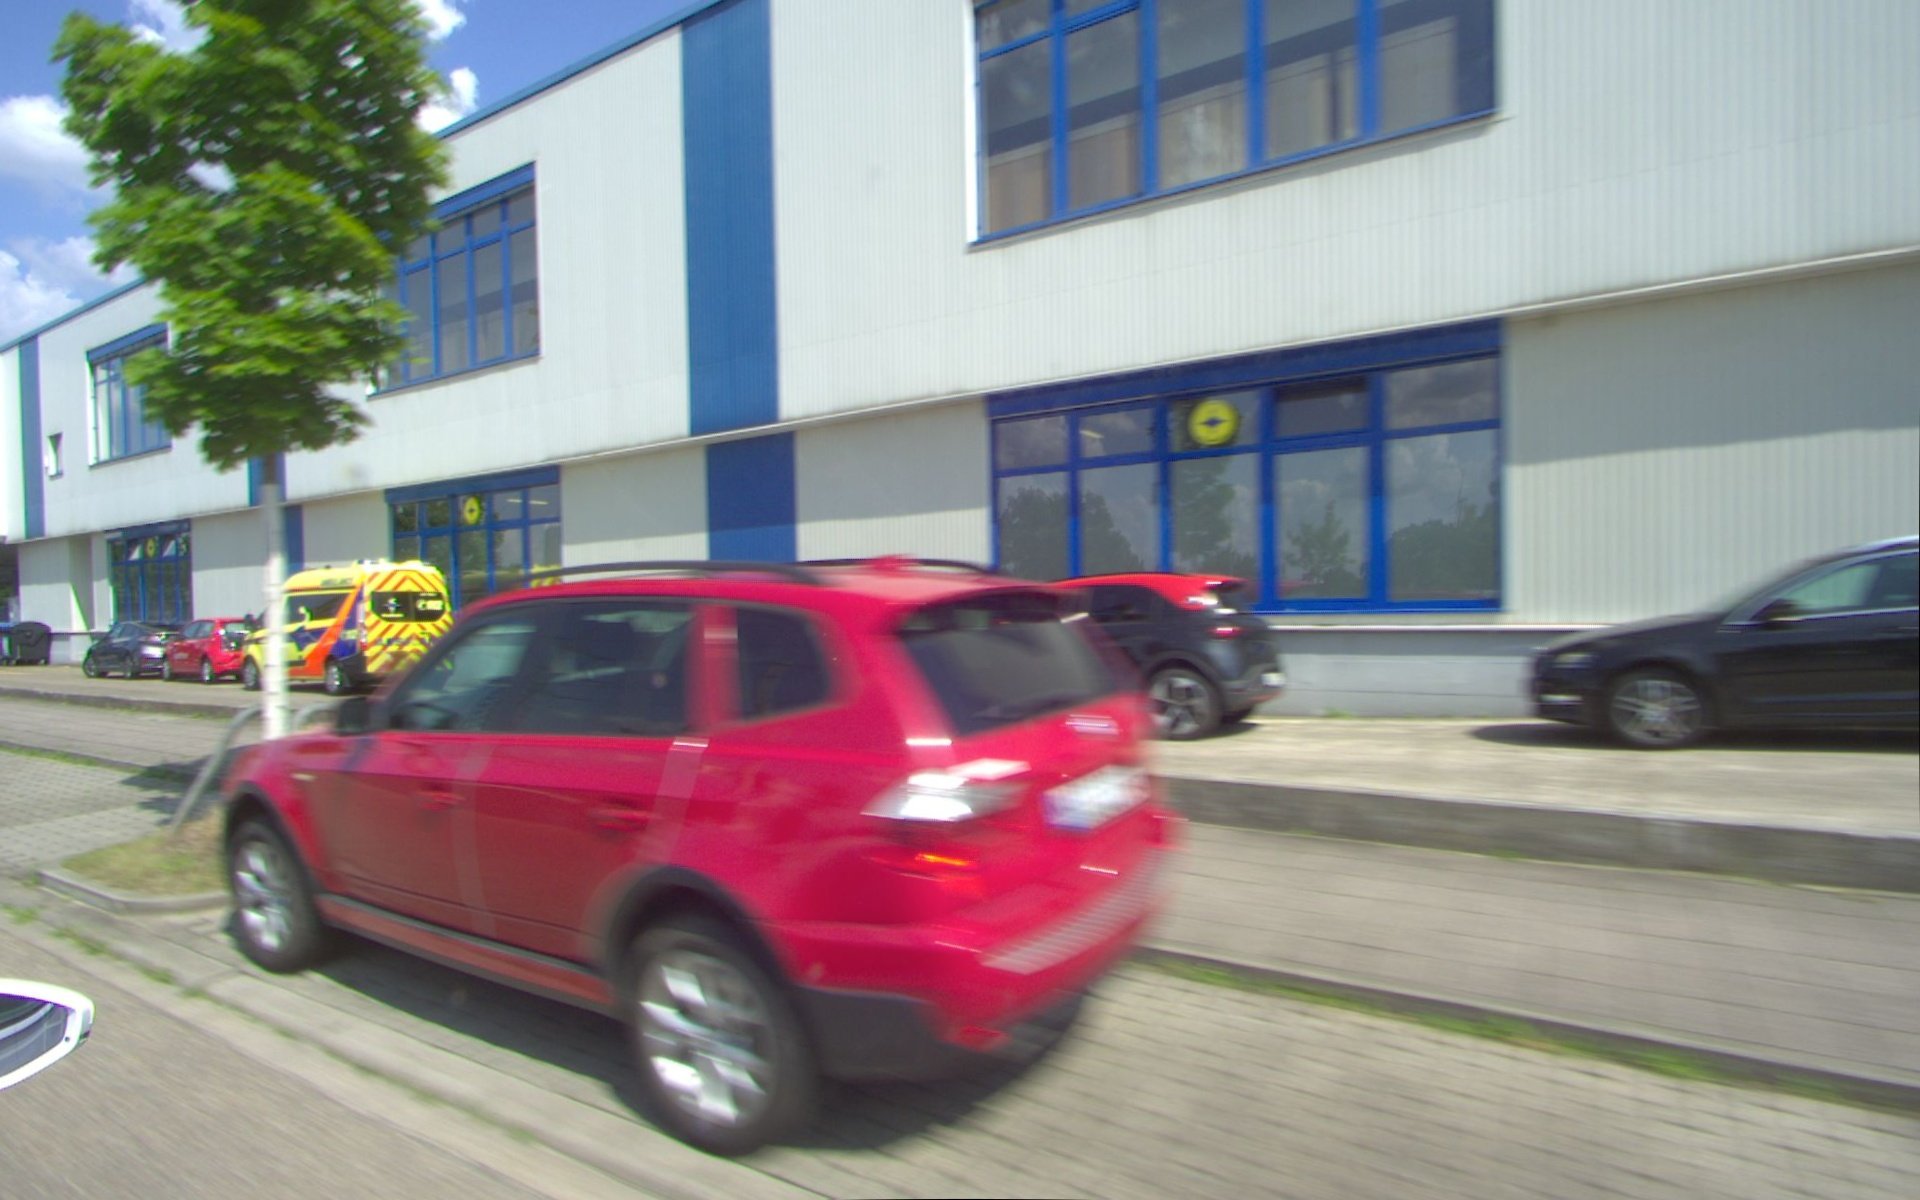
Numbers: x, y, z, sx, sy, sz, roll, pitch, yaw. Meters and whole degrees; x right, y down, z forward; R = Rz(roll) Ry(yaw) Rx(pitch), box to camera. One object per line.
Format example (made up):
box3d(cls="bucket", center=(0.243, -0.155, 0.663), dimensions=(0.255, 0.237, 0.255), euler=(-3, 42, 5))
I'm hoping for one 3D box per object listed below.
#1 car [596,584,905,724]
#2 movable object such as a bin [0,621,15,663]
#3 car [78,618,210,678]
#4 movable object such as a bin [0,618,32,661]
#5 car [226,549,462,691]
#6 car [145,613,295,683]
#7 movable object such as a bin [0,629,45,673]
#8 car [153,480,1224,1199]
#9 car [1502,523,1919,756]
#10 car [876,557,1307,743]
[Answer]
box3d(cls="car", center=(-2.959, 0.726, 13.836), dimensions=(4.156, 1.673, 1.711), euler=(-2, -1, 32))
box3d(cls="movable object such as a bin", center=(-33.420, 1.455, 34.599), dimensions=(1.338, 1.431, 0.803), euler=(-2, -2, 32))
box3d(cls="car", center=(-20.820, 1.216, 25.514), dimensions=(3.800, 1.421, 1.493), euler=(-2, -2, 32))
box3d(cls="movable object such as a bin", center=(-32.139, 1.343, 33.865), dimensions=(1.338, 1.431, 0.803), euler=(-2, -2, 32))
box3d(cls="car", center=(-12.225, 0.446, 19.759), dimensions=(5.185, 2.495, 1.920), euler=(-2, -2, 32))
box3d(cls="car", center=(-17.197, 1.101, 23.243), dimensions=(3.763, 1.509, 1.570), euler=(-2, -2, 32))
box3d(cls="movable object such as a bin", center=(-30.949, 1.676, 33.025), dimensions=(1.338, 1.431, 0.803), euler=(-2, -2, 32))
box3d(cls="car", center=(-1.445, 0.658, 4.185), dimensions=(4.614, 1.672, 1.751), euler=(-2, -2, 34))
box3d(cls="car", center=(6.713, 0.273, 7.418), dimensions=(4.578, 1.531, 1.824), euler=(-4, -2, 32))
box3d(cls="car", center=(1.379, 0.553, 10.996), dimensions=(4.230, 1.678, 1.989), euler=(-3, -2, 32))
